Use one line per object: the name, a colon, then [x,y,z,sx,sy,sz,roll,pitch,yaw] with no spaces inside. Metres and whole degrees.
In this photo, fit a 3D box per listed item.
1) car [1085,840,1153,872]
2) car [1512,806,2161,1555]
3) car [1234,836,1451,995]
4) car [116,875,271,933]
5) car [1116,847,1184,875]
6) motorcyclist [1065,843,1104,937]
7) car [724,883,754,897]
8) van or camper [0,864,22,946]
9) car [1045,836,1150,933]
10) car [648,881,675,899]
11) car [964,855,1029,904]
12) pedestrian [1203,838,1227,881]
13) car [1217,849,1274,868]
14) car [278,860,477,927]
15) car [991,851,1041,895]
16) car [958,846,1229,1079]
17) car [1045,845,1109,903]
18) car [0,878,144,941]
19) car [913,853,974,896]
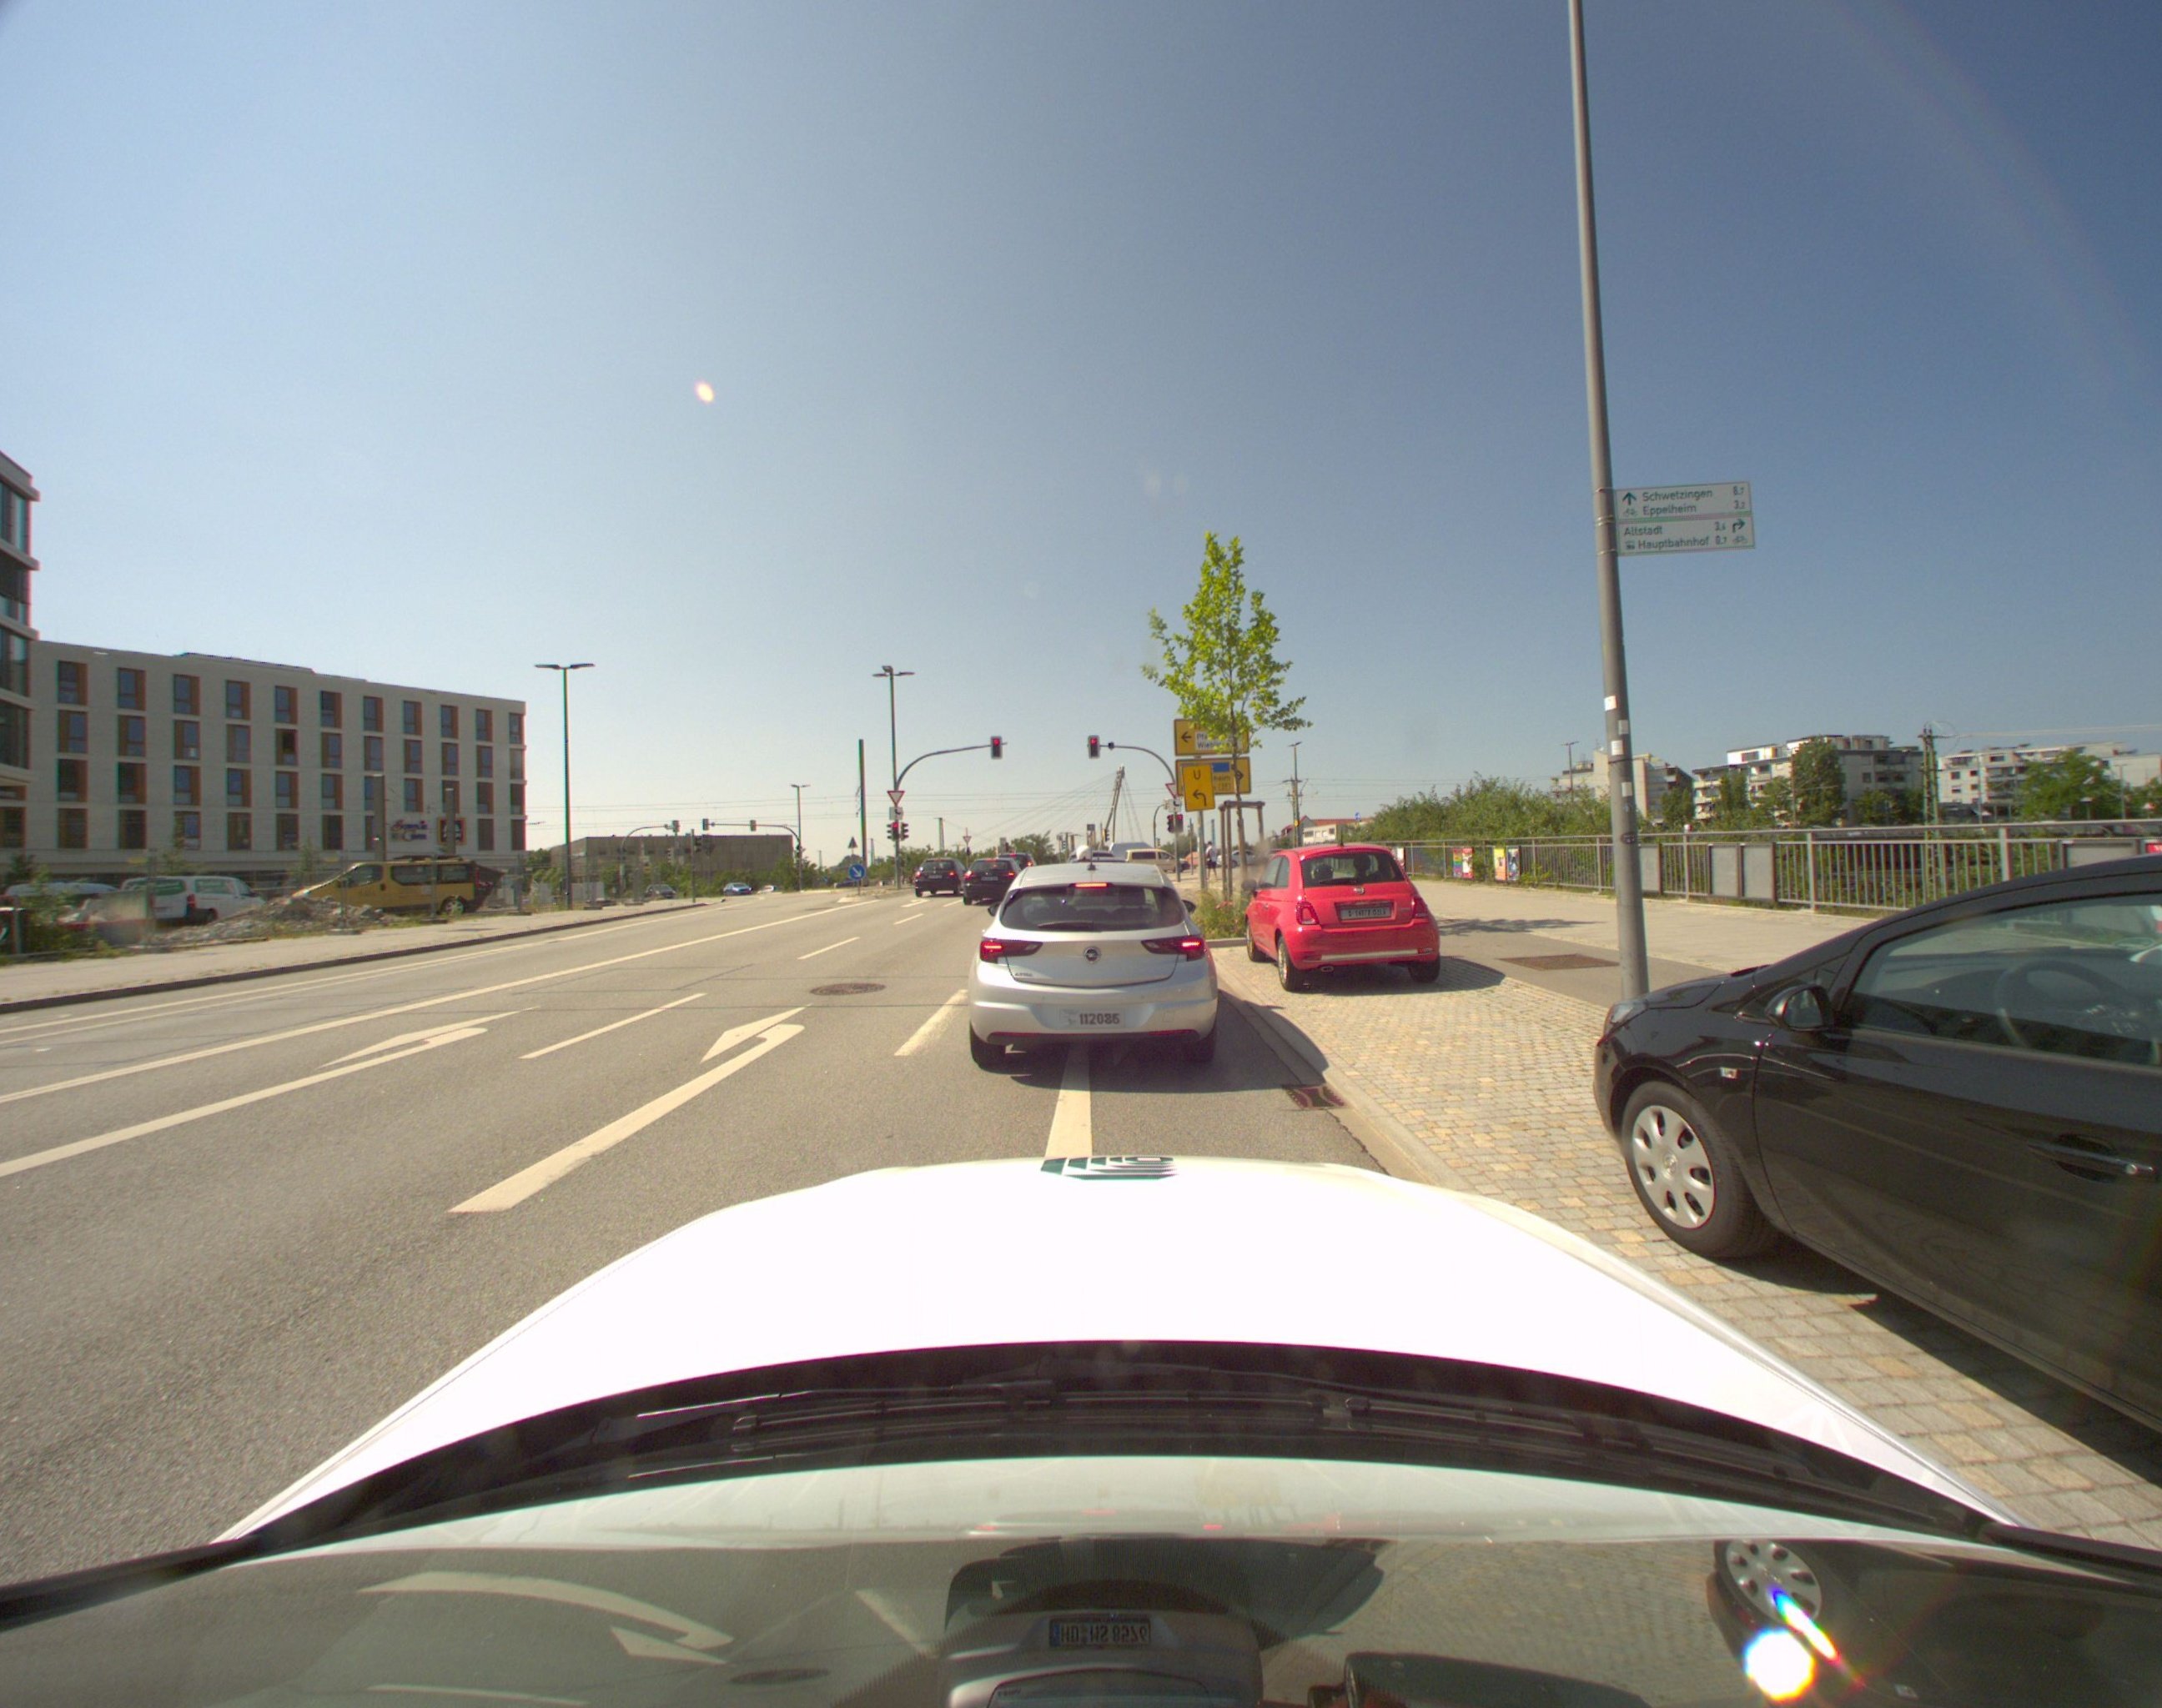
car: [2.888,0.155,62.708,4.993,2.376,1.780,-1,-1,-6]
car: [2.890,0.596,1.913,1.654,1.426,4.001,-4,-1,2]
car: [2.921,0.610,9.802,1.603,1.496,3.355,-4,0,3]
car: [-31.032,1.680,28.688,1.873,1.774,4.619,0,-1,-22]
car: [5.042,0.535,59.894,4.692,2.014,1.998,0,-1,-4]
motorcyclist: [0.062,0.541,12.458,0.579,1.389,0.707,0,-1,1]
car: [-34.923,3.661,83.046,1.831,1.331,3.954,0,-2,-38]
van or camper: [-36.453,1.706,25.298,2.318,2.735,4.944,0,-1,-26]
car: [0.387,0.561,17.686,1.986,1.820,4.404,0,0,2]
car: [-38.615,3.291,74.925,1.686,1.476,3.368,-2,0,-37]
car: [-2.603,0.775,25.838,1.569,1.434,3.786,0,-1,1]
pedestrian: [5.831,0.229,35.389,0.641,1.836,0.803,-3,-1,40]
car: [13.027,0.379,64.640,3.983,1.483,1.995,0,-1,-7]
car: [-22.692,1.184,26.434,1.964,1.962,4.655,-1,-1,40]
car: [-2.476,0.703,31.789,1.644,1.615,3.819,0,-1,0]
car: [0.061,0.711,7.241,1.738,1.478,3.998,0,-1,-1]
car: [-0.043,0.532,24.099,1.717,1.563,4.002,0,1,2]
car: [-33.731,1.782,27.191,1.794,1.857,3.818,0,-1,-26]
car: [-5.206,0.764,31.341,1.591,1.547,3.764,0,-1,2]
